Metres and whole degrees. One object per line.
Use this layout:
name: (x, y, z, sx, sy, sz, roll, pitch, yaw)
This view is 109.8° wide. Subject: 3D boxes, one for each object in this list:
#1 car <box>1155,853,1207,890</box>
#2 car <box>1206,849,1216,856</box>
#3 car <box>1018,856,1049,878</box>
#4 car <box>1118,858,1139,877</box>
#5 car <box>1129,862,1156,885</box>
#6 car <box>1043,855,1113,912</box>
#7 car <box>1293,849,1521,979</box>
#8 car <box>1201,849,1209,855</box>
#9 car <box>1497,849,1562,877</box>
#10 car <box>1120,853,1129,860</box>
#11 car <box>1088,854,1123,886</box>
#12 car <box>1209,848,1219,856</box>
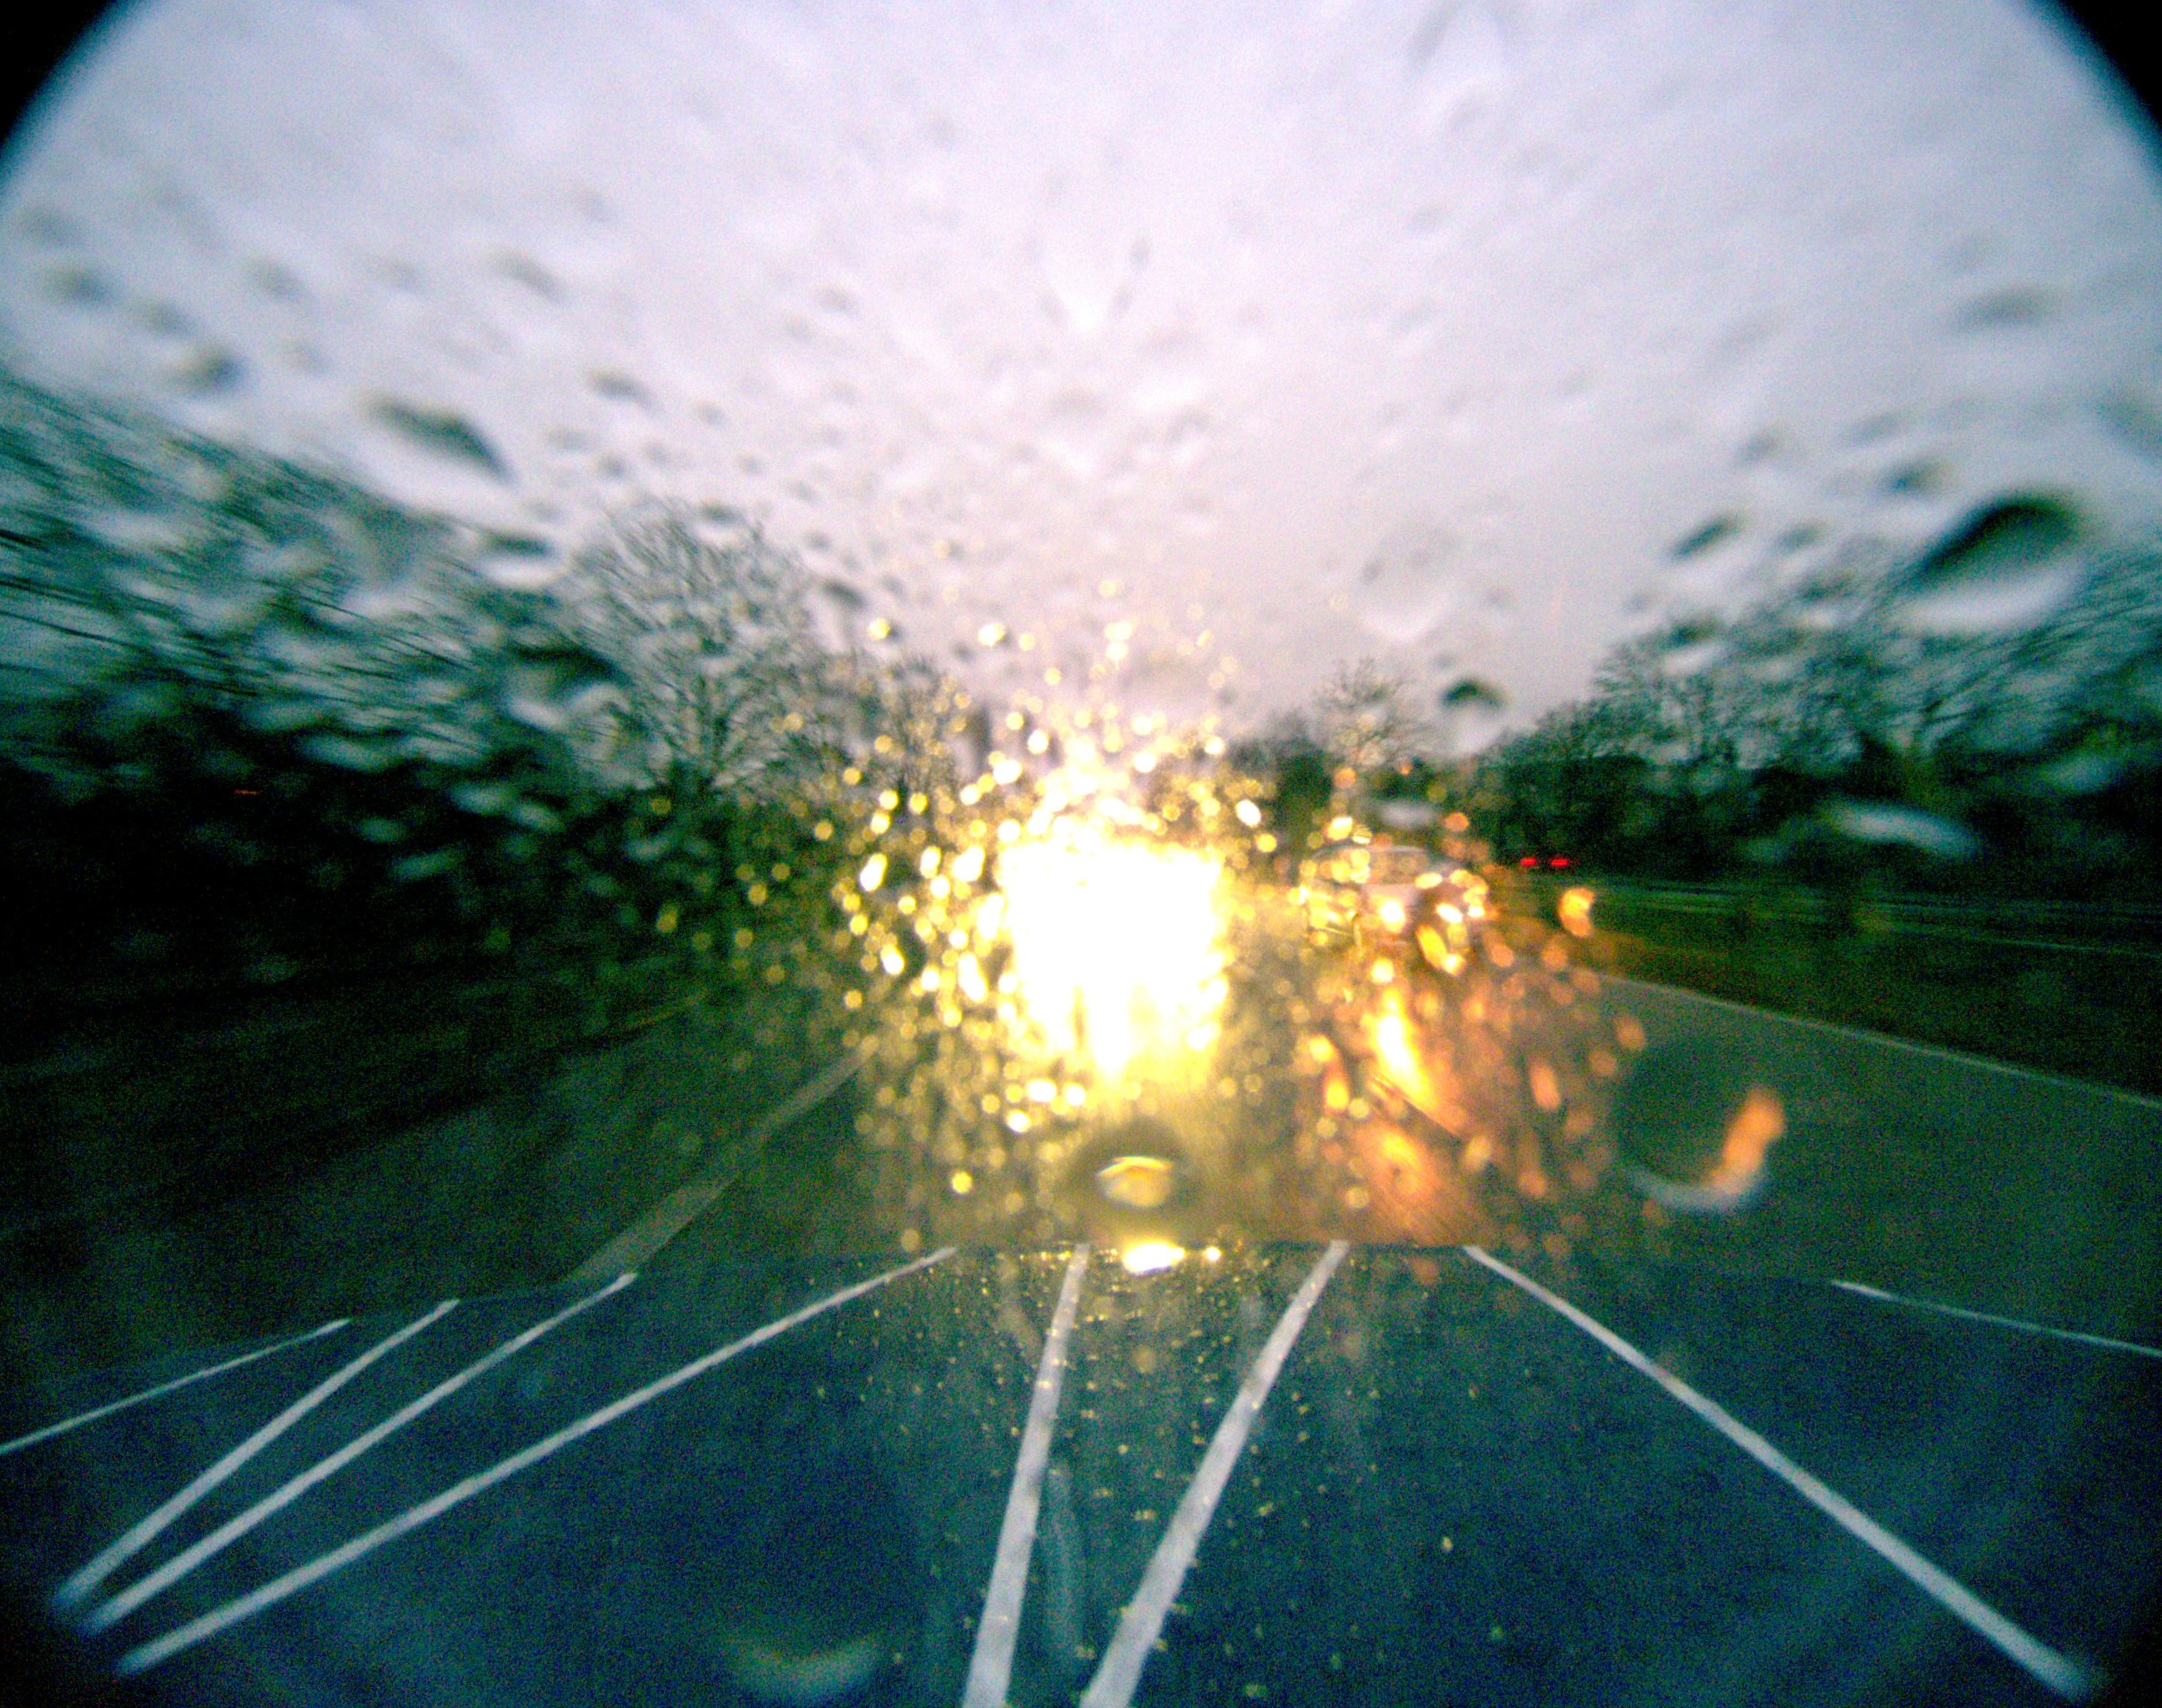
car: (4.582, 0.764, 35.385, 2.026, 1.522, 4.145, -1, 1, 2)
car: (30.431, -0.358, 178.184, 1.787, 1.524, 4.378, -1, 1, 4)
car: (-3.393, 0.921, 54.567, 1.728, 1.426, 3.791, -1, 1, 4)
car: (4.433, 1.229, 70.779, 1.852, 1.610, 3.952, -2, 1, 4)
car: (4.223, 1.325, 52.599, 1.696, 1.327, 4.000, -2, 1, 3)
car: (0.004, 0.836, 23.411, 1.830, 1.524, 4.001, -1, 1, 4)
car: (4.696, 0.750, 11.671, 1.765, 1.590, 4.164, -1, 1, 1)
car: (31.653, -0.512, 194.191, 1.652, 1.346, 3.957, -1, 1, 4)
car: (27.510, 0.500, 46.795, 1.787, 1.599, 4.684, -1, 1, 8)
car: (10.185, 0.498, 177.194, 1.998, 1.605, 4.000, -1, 0, 2)
car: (1.361, 0.832, 40.644, 1.728, 1.573, 3.791, -1, 1, 4)
car: (28.088, -0.444, 160.685, 1.621, 1.672, 3.982, -1, 0, 4)
